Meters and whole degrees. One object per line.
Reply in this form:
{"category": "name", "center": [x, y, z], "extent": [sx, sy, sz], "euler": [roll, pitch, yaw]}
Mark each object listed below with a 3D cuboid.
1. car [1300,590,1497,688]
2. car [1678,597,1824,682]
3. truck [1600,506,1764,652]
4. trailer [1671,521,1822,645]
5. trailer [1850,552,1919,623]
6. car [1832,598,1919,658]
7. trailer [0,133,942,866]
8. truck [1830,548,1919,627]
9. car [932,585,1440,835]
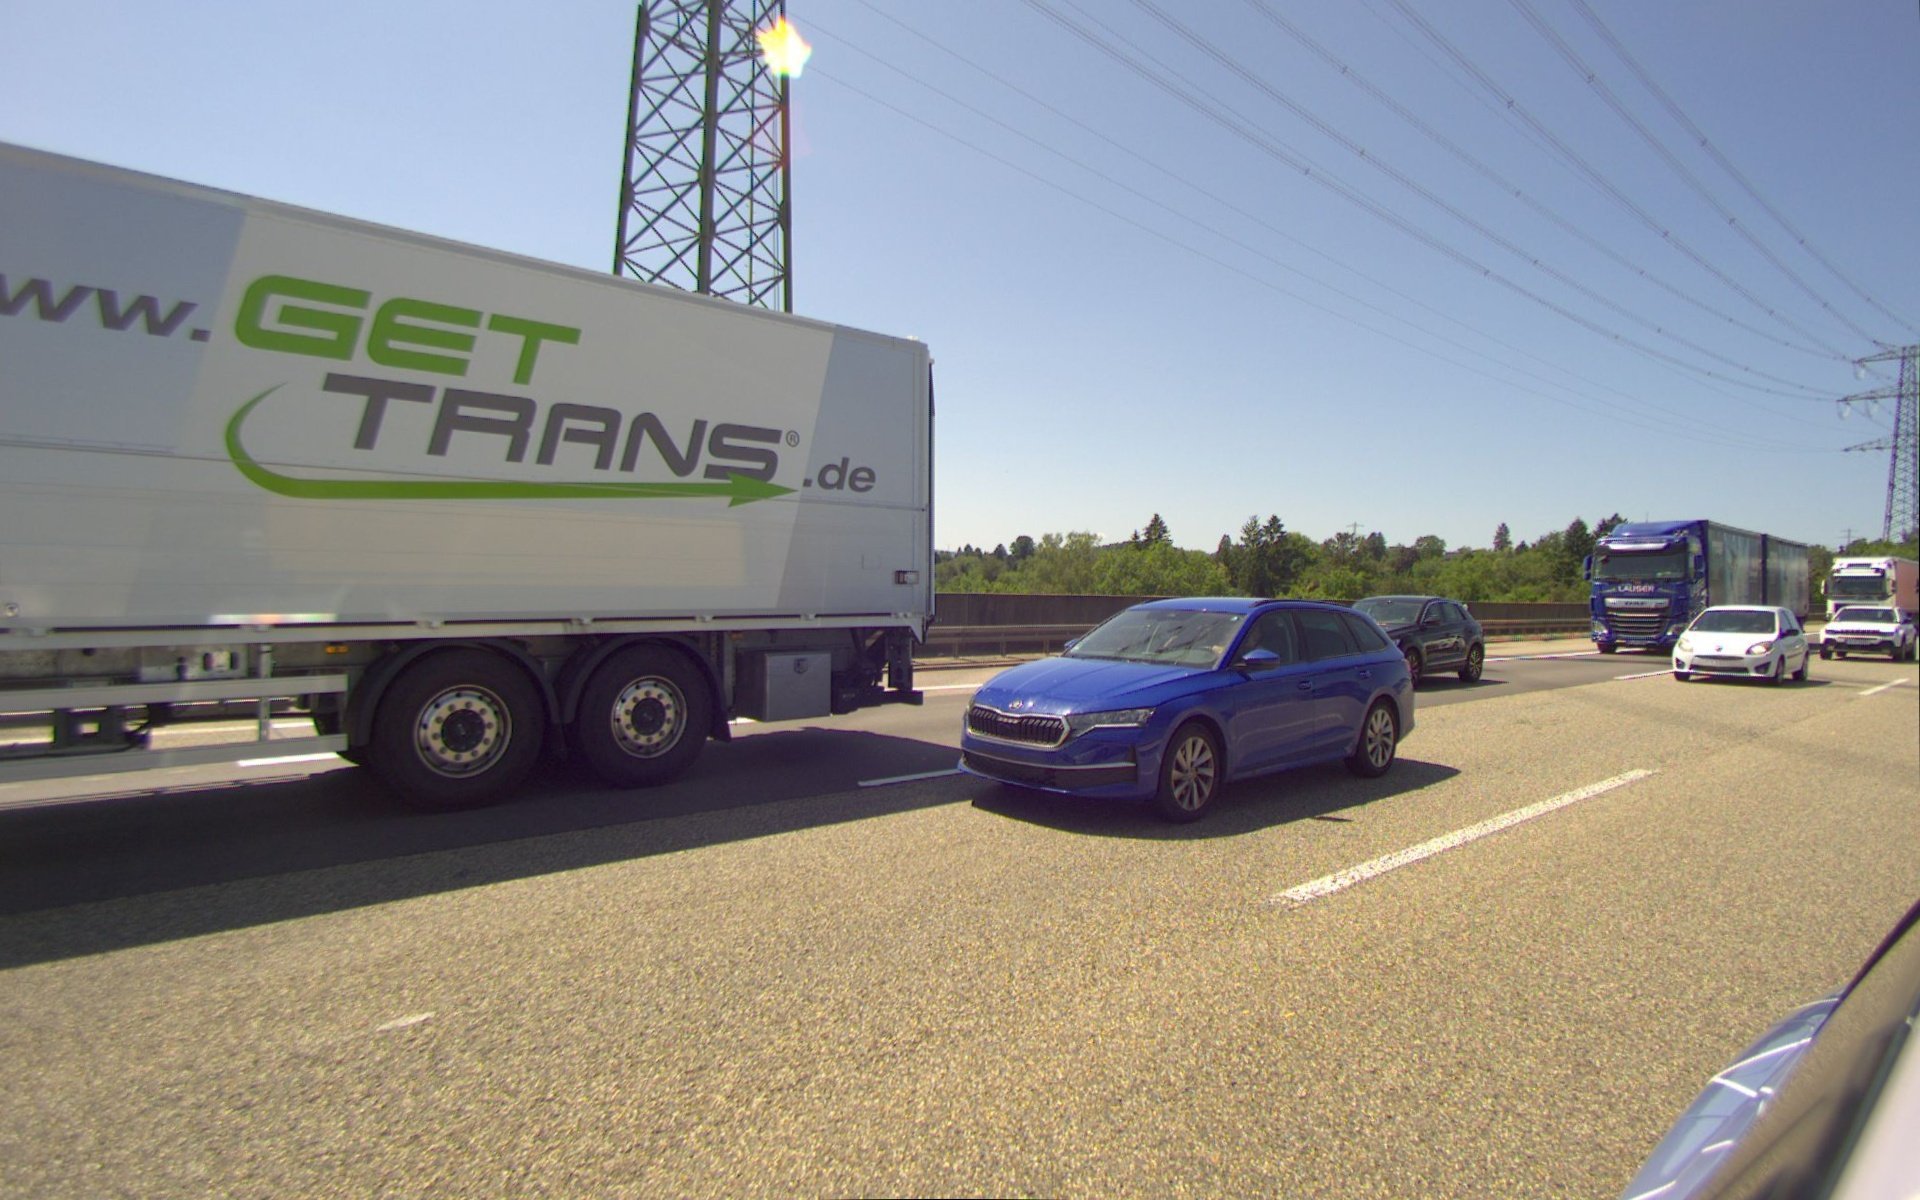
{"category": "car", "center": [7.749, 0.601, 17.757], "extent": [3.821, 1.524, 1.708], "euler": [0, 0, -41]}
{"category": "car", "center": [15.286, 0.696, 19.499], "extent": [3.566, 1.458, 1.582], "euler": [0, 0, -41]}
{"category": "truck", "center": [22.451, -0.604, 31.294], "extent": [7.791, 4.018, 2.514], "euler": [0, 0, -42]}
{"category": "trailer", "center": [29.323, -0.588, 37.483], "extent": [10.698, 4.044, 2.541], "euler": [-1, 0, -42]}
{"category": "trailer", "center": [54.208, -0.717, 58.642], "extent": [8.539, 3.849, 2.901], "euler": [0, 0, -42]}
{"category": "car", "center": [25.932, 0.747, 28.436], "extent": [3.688, 1.554, 1.720], "euler": [0, 0, -42]}
{"category": "trailer", "center": [-4.137, -0.502, 7.508], "extent": [8.149, 3.640, 2.848], "euler": [0, 0, -42]}
{"category": "truck", "center": [48.549, -0.654, 53.585], "extent": [6.625, 3.941, 2.911], "euler": [0, 0, -42]}
{"category": "car", "center": [2.005, 0.634, 8.031], "extent": [4.423, 1.458, 1.712], "euler": [0, 0, -42]}
